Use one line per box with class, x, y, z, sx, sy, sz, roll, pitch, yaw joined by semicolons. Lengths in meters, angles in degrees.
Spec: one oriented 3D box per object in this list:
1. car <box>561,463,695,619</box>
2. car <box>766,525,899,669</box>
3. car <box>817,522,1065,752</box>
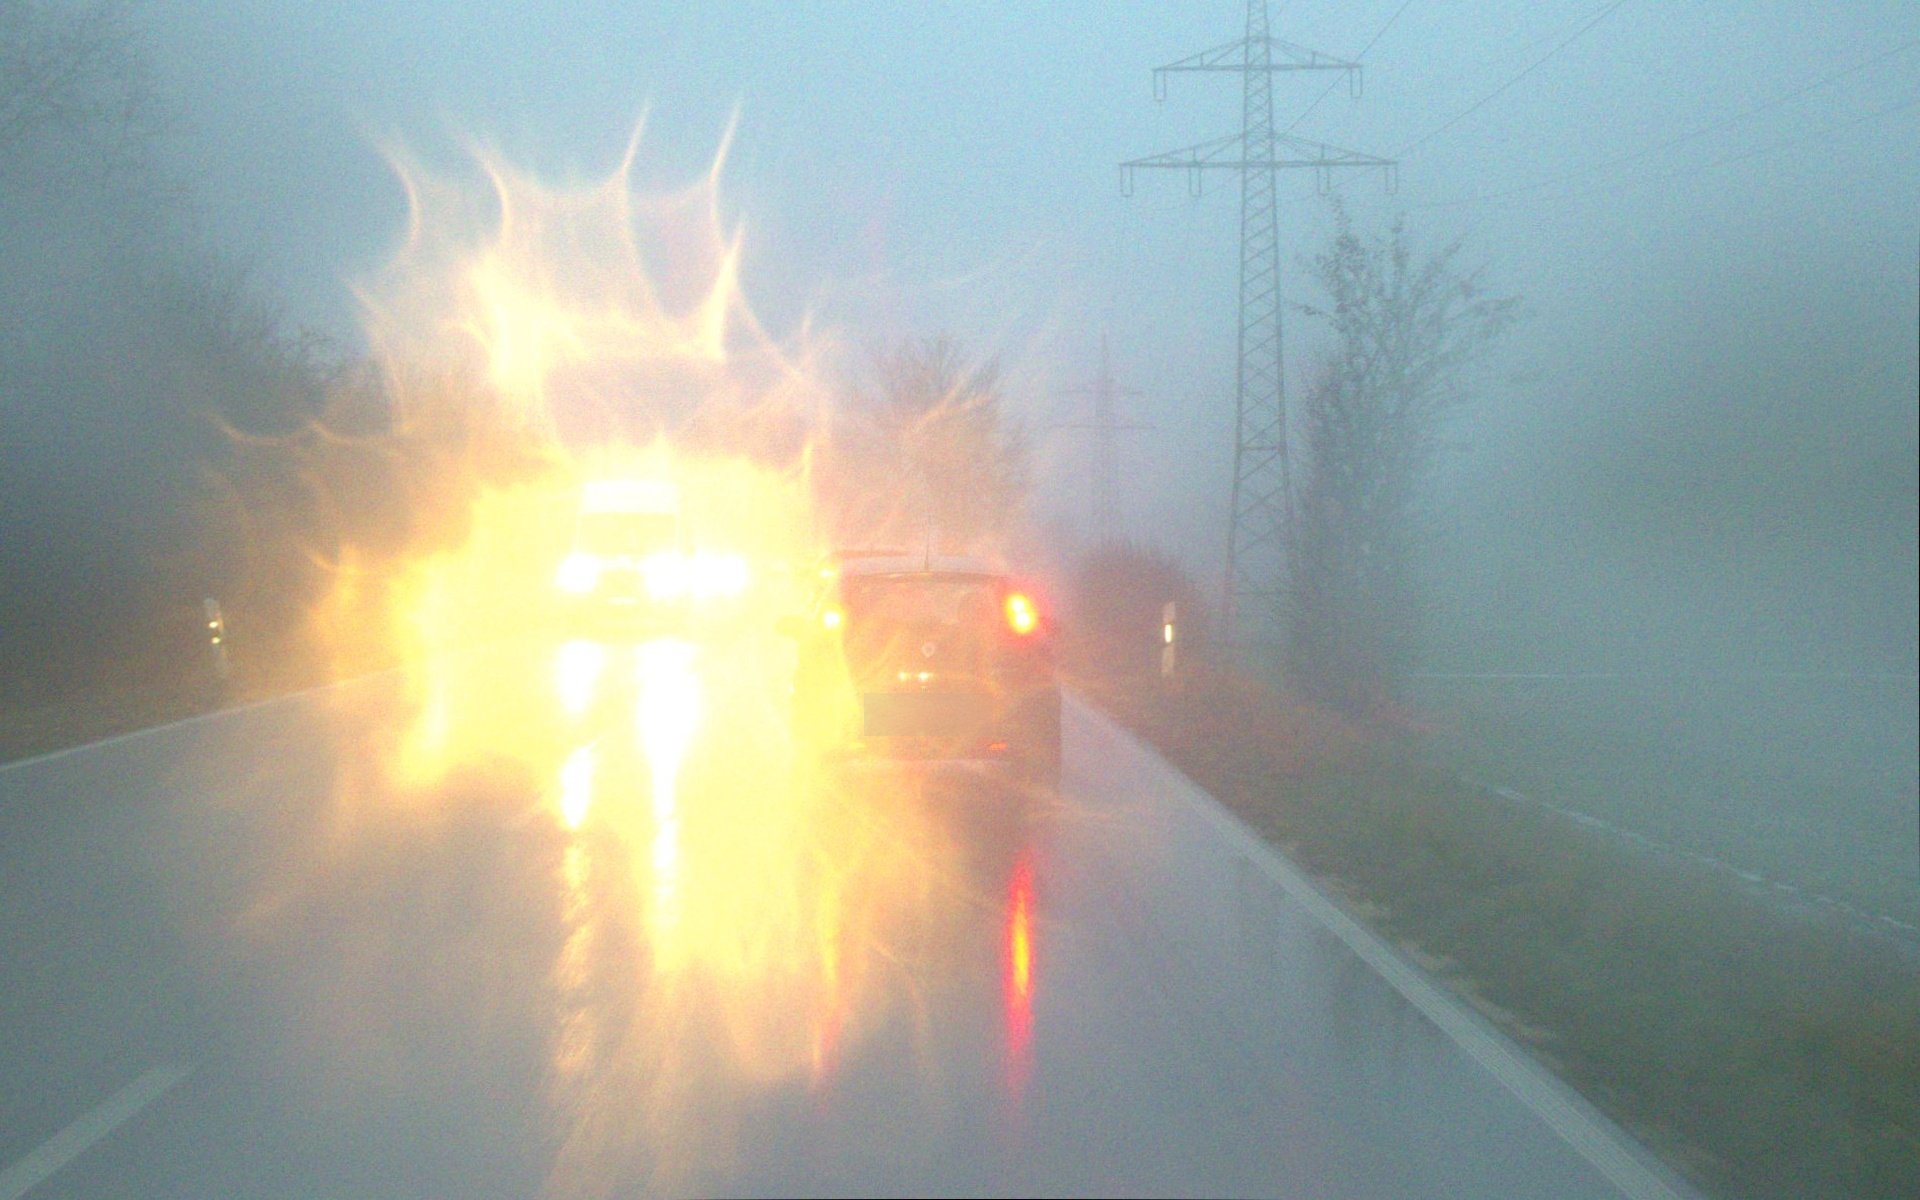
car;-5.949;-1.073;62.222;1.953;2.665;6.272;1;1;-2
car;-1.876;-0.060;50.568;1.852;2.007;4.000;1;1;-2
car;-0.175;0.209;22.699;1.500;1.393;3.200;1;1;-2
